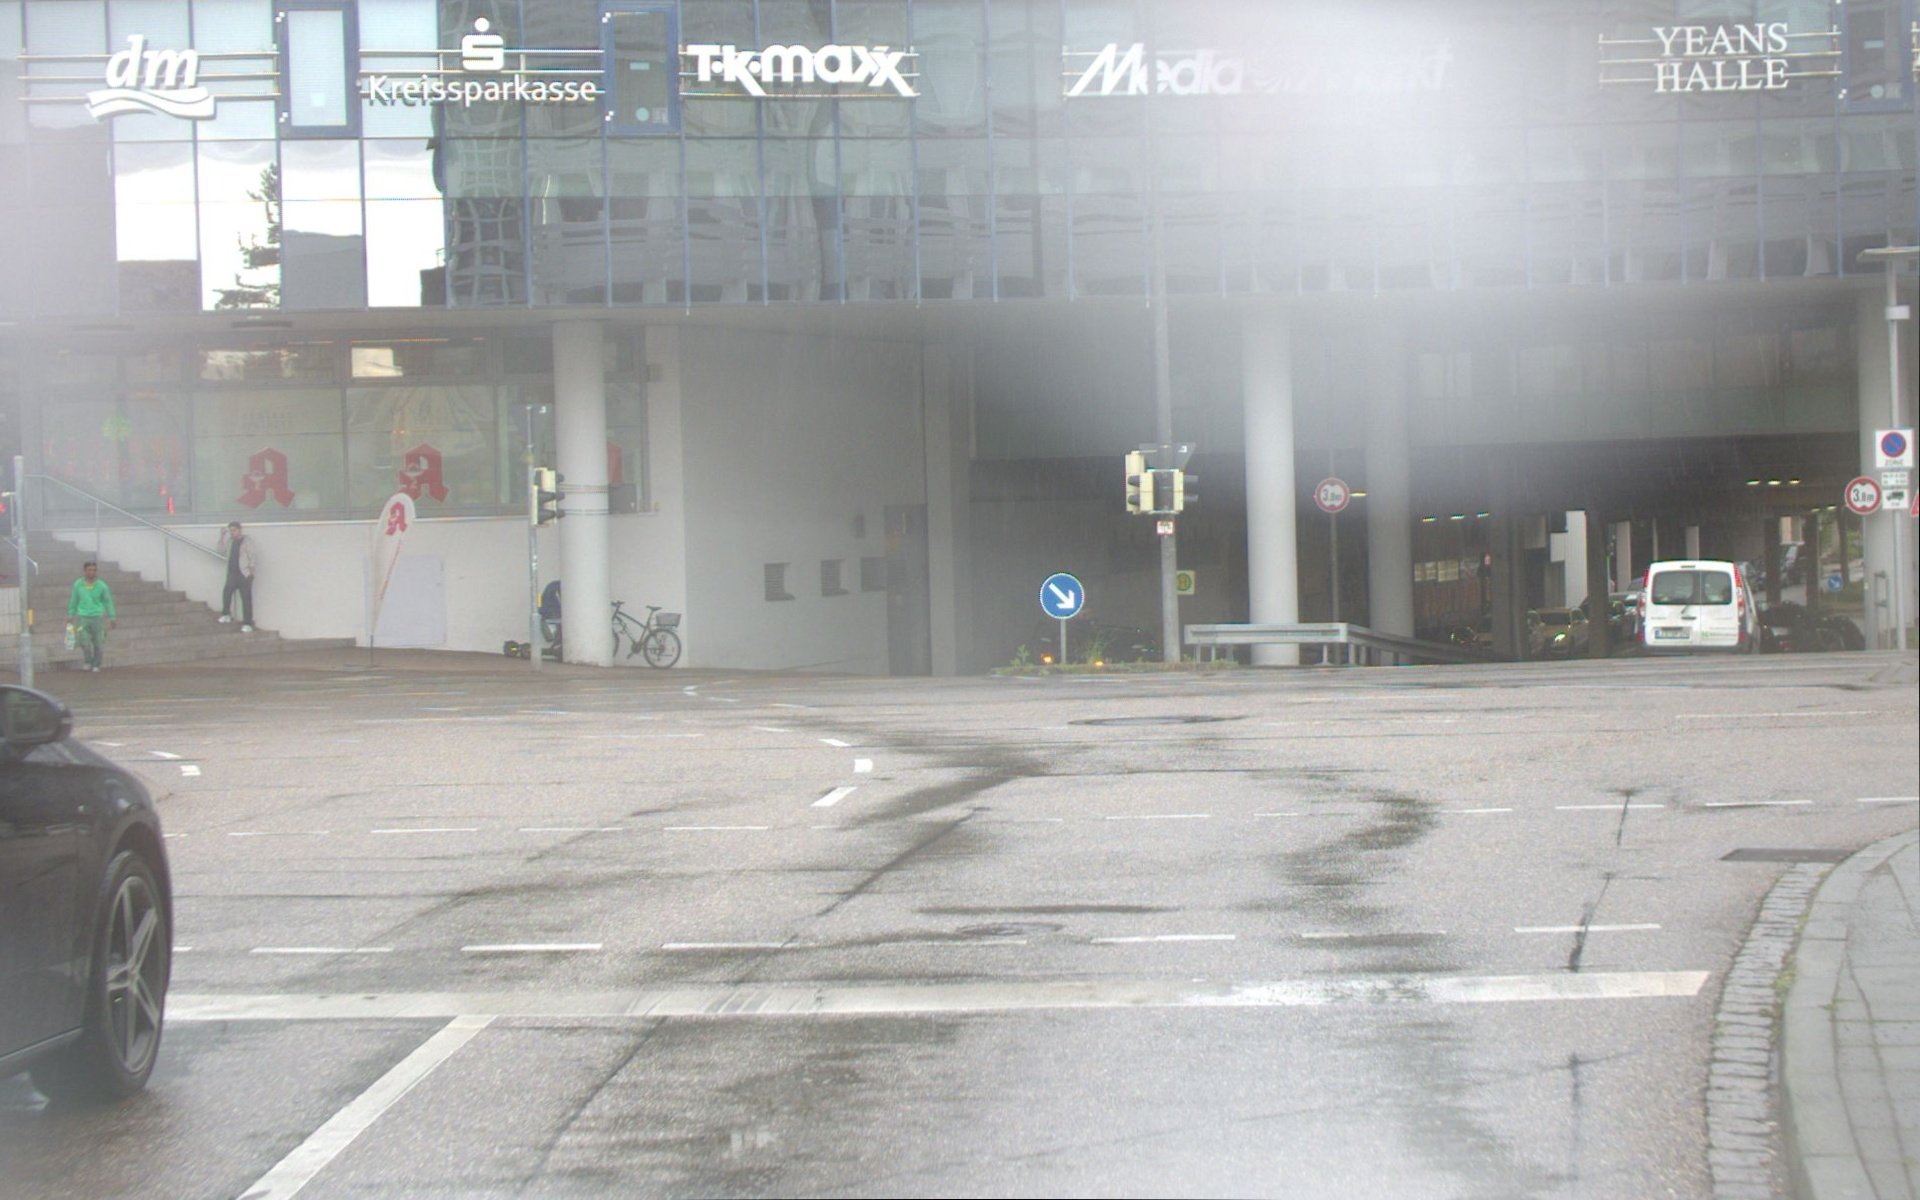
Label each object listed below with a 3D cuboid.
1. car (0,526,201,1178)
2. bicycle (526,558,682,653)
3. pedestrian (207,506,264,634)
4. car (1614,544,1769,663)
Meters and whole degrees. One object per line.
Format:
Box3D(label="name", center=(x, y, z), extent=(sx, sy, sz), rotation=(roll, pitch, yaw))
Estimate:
Box3D(label="car", center=(-3.028, 0.585, 7.193), extent=(1.805, 1.414, 4.000), rotation=(-1, 1, 3))
Box3D(label="bicycle", center=(-5.792, 0.079, 55.914), extent=(2.423, 1.459, 0.656), rotation=(-2, 3, -19))
Box3D(label="pedestrian", center=(-11.562, -0.477, 54.875), extent=(0.787, 2.007, 0.670), rotation=(-2, 1, -7))
Box3D(label="car", center=(11.606, 0.026, 54.390), extent=(1.995, 1.711, 3.997), rotation=(-1, 1, 18))
